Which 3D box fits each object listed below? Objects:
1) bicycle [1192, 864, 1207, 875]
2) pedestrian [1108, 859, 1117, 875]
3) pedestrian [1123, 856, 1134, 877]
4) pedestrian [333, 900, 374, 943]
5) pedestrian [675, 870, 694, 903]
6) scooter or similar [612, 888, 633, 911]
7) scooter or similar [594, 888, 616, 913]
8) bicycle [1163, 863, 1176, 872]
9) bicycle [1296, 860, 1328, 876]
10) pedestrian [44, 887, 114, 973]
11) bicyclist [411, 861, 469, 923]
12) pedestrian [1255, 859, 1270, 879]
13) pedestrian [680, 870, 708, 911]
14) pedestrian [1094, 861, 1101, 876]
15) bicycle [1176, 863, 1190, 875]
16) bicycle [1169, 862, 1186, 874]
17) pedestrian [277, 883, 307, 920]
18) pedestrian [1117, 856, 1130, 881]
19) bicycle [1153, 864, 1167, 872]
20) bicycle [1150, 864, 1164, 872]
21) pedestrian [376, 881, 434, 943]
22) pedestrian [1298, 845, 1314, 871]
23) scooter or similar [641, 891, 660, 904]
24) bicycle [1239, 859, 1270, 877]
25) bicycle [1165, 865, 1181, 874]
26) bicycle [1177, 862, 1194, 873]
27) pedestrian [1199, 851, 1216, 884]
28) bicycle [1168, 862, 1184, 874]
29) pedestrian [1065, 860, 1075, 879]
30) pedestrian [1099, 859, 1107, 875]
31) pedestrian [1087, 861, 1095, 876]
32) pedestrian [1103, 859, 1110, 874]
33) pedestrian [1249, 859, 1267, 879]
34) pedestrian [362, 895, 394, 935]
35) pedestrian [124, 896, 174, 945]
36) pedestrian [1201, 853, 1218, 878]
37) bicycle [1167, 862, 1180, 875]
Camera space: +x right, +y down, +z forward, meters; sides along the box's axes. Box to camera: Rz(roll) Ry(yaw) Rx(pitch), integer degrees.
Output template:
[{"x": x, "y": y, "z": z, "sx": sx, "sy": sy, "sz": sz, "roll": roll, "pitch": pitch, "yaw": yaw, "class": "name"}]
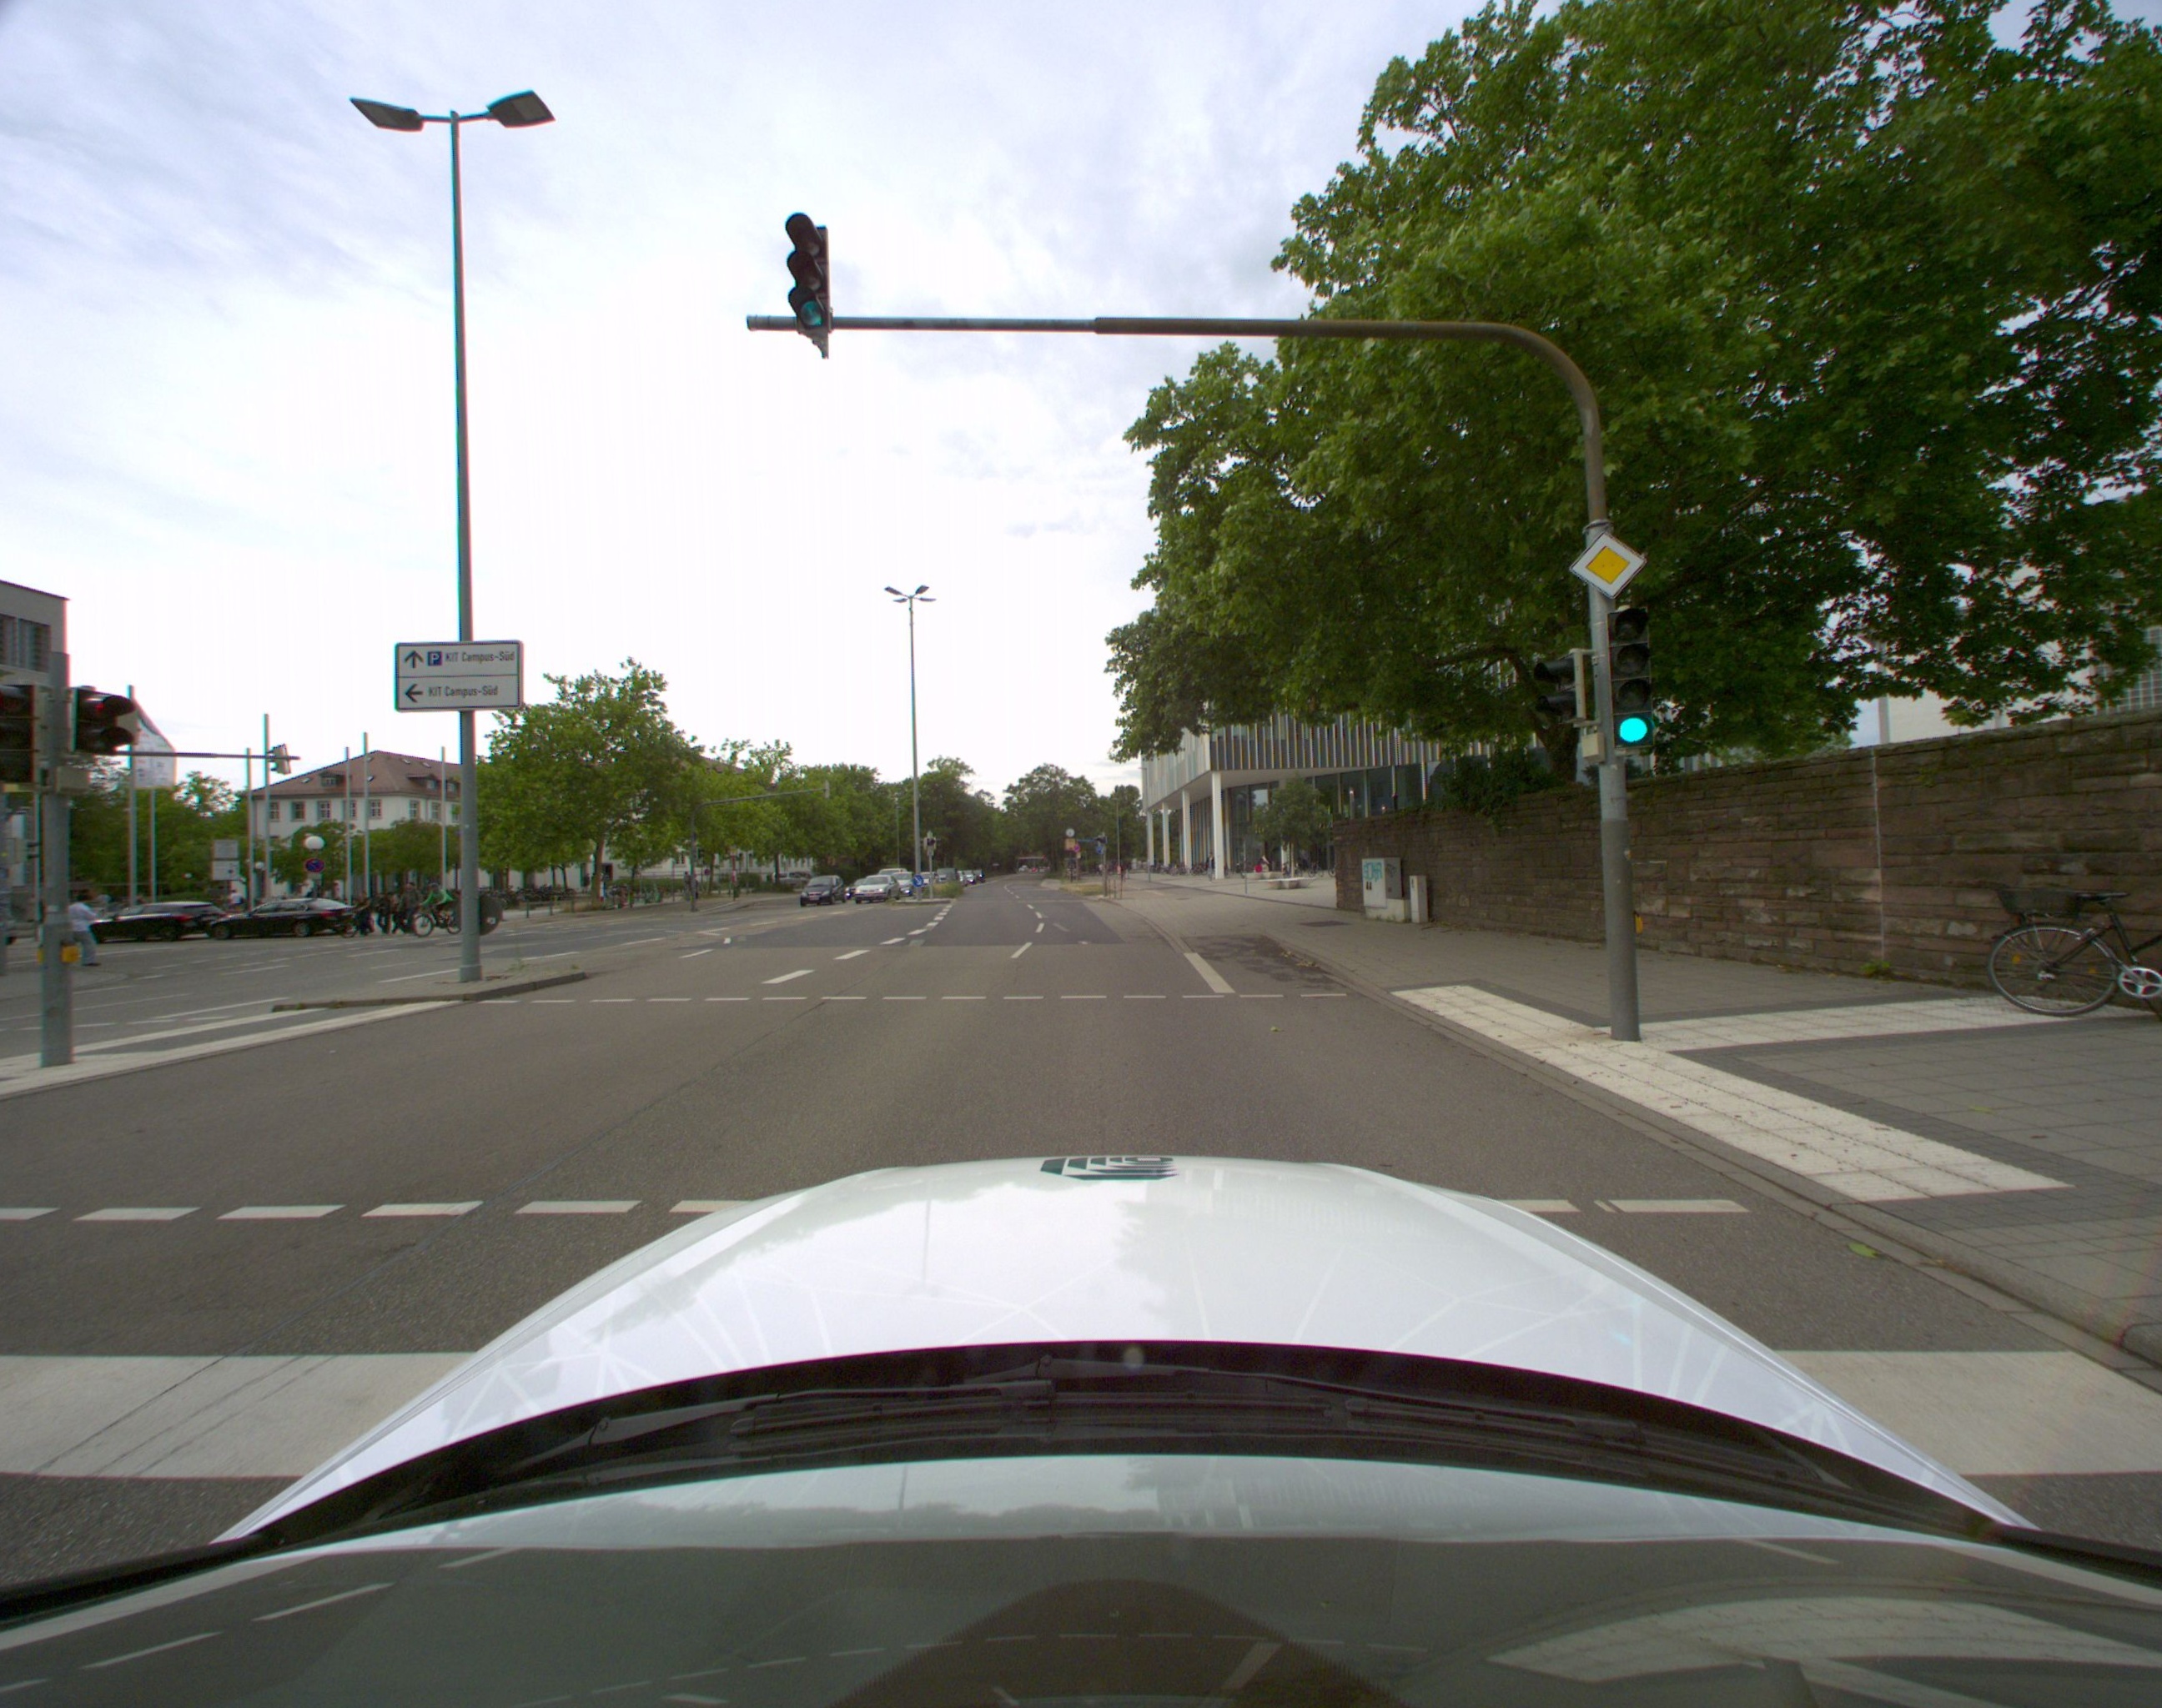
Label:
[{"x": 10.510, "y": 1.347, "z": 72.337, "sx": 1.496, "sy": 0.929, "sz": 0.435, "roll": -3, "pitch": 1, "yaw": -41, "class": "bicycle"}, {"x": 4.059, "y": 1.624, "z": 104.722, "sx": 0.924, "sy": 2.014, "sz": 1.038, "roll": -2, "pitch": -1, "yaw": -5, "class": "pedestrian"}, {"x": 4.608, "y": 1.204, "z": 78.632, "sx": 0.841, "sy": 2.014, "sz": 0.893, "roll": -2, "pitch": -1, "yaw": -5, "class": "pedestrian"}, {"x": -27.156, "y": 2.493, "z": 30.411, "sx": 0.825, "sy": 1.513, "sz": 0.968, "roll": -2, "pitch": -1, "yaw": -22, "class": "pedestrian"}, {"x": -24.082, "y": 1.965, "z": 49.500, "sx": 0.801, "sy": 2.014, "sz": 0.923, "roll": 0, "pitch": -1, "yaw": -9, "class": "pedestrian"}, {"x": -23.856, "y": 2.344, "z": 42.418, "sx": 0.359, "sy": 1.140, "sz": 1.318, "roll": -2, "pitch": -1, "yaw": -2, "class": "scooter or similar"}, {"x": -23.833, "y": 2.323, "z": 40.798, "sx": 0.359, "sy": 1.140, "sz": 1.318, "roll": -2, "pitch": -1, "yaw": -2, "class": "scooter or similar"}, {"x": 9.488, "y": 1.429, "z": 87.518, "sx": 1.279, "sy": 0.875, "sz": 0.556, "roll": -3, "pitch": -1, "yaw": -2, "class": "bicycle"}, {"x": 15.484, "y": 0.951, "z": 54.624, "sx": 2.200, "sy": 1.006, "sz": 0.774, "roll": -2, "pitch": -1, "yaw": -32, "class": "bicycle"}, {"x": -25.234, "y": 1.900, "z": 20.531, "sx": 0.664, "sy": 2.059, "sz": 0.852, "roll": -2, "pitch": -1, "yaw": -2, "class": "pedestrian"}, {"x": -21.365, "y": 1.237, "z": 27.183, "sx": 1.185, "sy": 2.014, "sz": 1.272, "roll": 0, "pitch": -1, "yaw": -22, "class": "bicyclist"}, {"x": 11.624, "y": 0.956, "z": 52.150, "sx": 0.885, "sy": 1.193, "sz": 0.848, "roll": -2, "pitch": -1, "yaw": 12, "class": "pedestrian"}, {"x": -19.593, "y": 1.847, "z": 41.277, "sx": 0.892, "sy": 2.014, "sz": 1.008, "roll": -2, "pitch": -1, "yaw": -4, "class": "pedestrian"}, {"x": 2.363, "y": 2.004, "z": 113.798, "sx": 0.823, "sy": 2.014, "sz": 0.718, "roll": -2, "pitch": -1, "yaw": -7, "class": "pedestrian"}, {"x": 9.287, "y": 1.376, "z": 74.184, "sx": 0.608, "sy": 1.080, "sz": 1.954, "roll": -4, "pitch": 0, "yaw": -13, "class": "bicycle"}, {"x": 9.602, "y": 1.404, "z": 81.140, "sx": 1.602, "sy": 0.982, "sz": 0.556, "roll": -5, "pitch": -1, "yaw": -2, "class": "bicycle"}, {"x": -44.682, "y": 2.661, "z": 46.114, "sx": 0.795, "sy": 2.014, "sz": 1.090, "roll": -2, "pitch": -1, "yaw": -19, "class": "pedestrian"}, {"x": 3.538, "y": 1.202, "z": 67.682, "sx": 0.840, "sy": 2.013, "sz": 0.894, "roll": -4, "pitch": -1, "yaw": -1, "class": "pedestrian"}, {"x": 9.521, "y": 1.663, "z": 98.384, "sx": 1.602, "sy": 0.875, "sz": 0.556, "roll": -3, "pitch": -1, "yaw": -2, "class": "bicycle"}, {"x": 9.305, "y": 1.695, "z": 99.564, "sx": 1.602, "sy": 0.875, "sz": 0.556, "roll": -3, "pitch": -1, "yaw": -2, "class": "bicycle"}, {"x": -22.814, "y": 1.930, "z": 27.533, "sx": 1.185, "sy": 2.014, "sz": 1.134, "roll": 0, "pitch": -1, "yaw": -22, "class": "pedestrian"}, {"x": 18.094, "y": 0.288, "z": 65.416, "sx": 1.172, "sy": 2.062, "sz": 1.140, "roll": -1, "pitch": -1, "yaw": 16, "class": "pedestrian"}, {"x": -25.557, "y": 2.594, "z": 48.386, "sx": 0.405, "sy": 0.693, "sz": 1.289, "roll": 0, "pitch": 0, "yaw": 1, "class": "scooter or similar"}, {"x": 12.488, "y": 1.002, "z": 58.498, "sx": 2.736, "sy": 1.188, "sz": 0.765, "roll": -2, "pitch": -1, "yaw": -44, "class": "bicycle"}, {"x": 9.482, "y": 1.599, "z": 84.053, "sx": 1.602, "sy": 0.875, "sz": 0.556, "roll": -2, "pitch": -1, "yaw": -2, "class": "bicycle"}, {"x": 10.241, "y": 1.343, "z": 79.685, "sx": 1.597, "sy": 0.936, "sz": 0.570, "roll": -5, "pitch": 0, "yaw": 8, "class": "bicycle"}, {"x": 7.888, "y": 0.849, "z": 50.698, "sx": 0.840, "sy": 2.014, "sz": 0.894, "roll": -2, "pitch": -1, "yaw": -1, "class": "pedestrian"}, {"x": 9.392, "y": 1.413, "z": 80.561, "sx": 1.396, "sy": 1.043, "sz": 0.559, "roll": -4, "pitch": -1, "yaw": -2, "class": "bicycle"}, {"x": -1.231, "y": 1.759, "z": 92.502, "sx": 0.910, "sy": 2.013, "sz": 0.853, "roll": -4, "pitch": 1, "yaw": -3, "class": "pedestrian"}, {"x": 2.831, "y": 1.649, "z": 104.629, "sx": 0.924, "sy": 2.014, "sz": 1.037, "roll": -2, "pitch": -1, "yaw": -7, "class": "pedestrian"}, {"x": 1.384, "y": 2.009, "z": 114.049, "sx": 0.924, "sy": 2.014, "sz": 1.037, "roll": -2, "pitch": -1, "yaw": -7, "class": "pedestrian"}, {"x": 3.632, "y": 1.731, "z": 114.086, "sx": 0.822, "sy": 2.014, "sz": 0.719, "roll": -3, "pitch": -1, "yaw": -3, "class": "pedestrian"}, {"x": 11.196, "y": 0.970, "z": 51.533, "sx": 0.834, "sy": 1.206, "sz": 0.900, "roll": -3, "pitch": -1, "yaw": 32, "class": "pedestrian"}, {"x": -26.275, "y": 2.267, "z": 30.460, "sx": 0.702, "sy": 1.428, "sz": 0.991, "roll": 0, "pitch": -1, "yaw": -30, "class": "pedestrian"}, {"x": -40.818, "y": 2.887, "z": 35.681, "sx": 1.000, "sy": 2.014, "sz": 1.016, "roll": -2, "pitch": -1, "yaw": -3, "class": "pedestrian"}, {"x": 9.374, "y": 0.846, "z": 59.282, "sx": 0.846, "sy": 1.836, "sz": 0.888, "roll": -2, "pitch": -1, "yaw": -22, "class": "pedestrian"}, {"x": 8.703, "y": 1.349, "z": 76.942, "sx": 0.635, "sy": 1.140, "sz": 2.196, "roll": -5, "pitch": -1, "yaw": -6, "class": "bicycle"}]
